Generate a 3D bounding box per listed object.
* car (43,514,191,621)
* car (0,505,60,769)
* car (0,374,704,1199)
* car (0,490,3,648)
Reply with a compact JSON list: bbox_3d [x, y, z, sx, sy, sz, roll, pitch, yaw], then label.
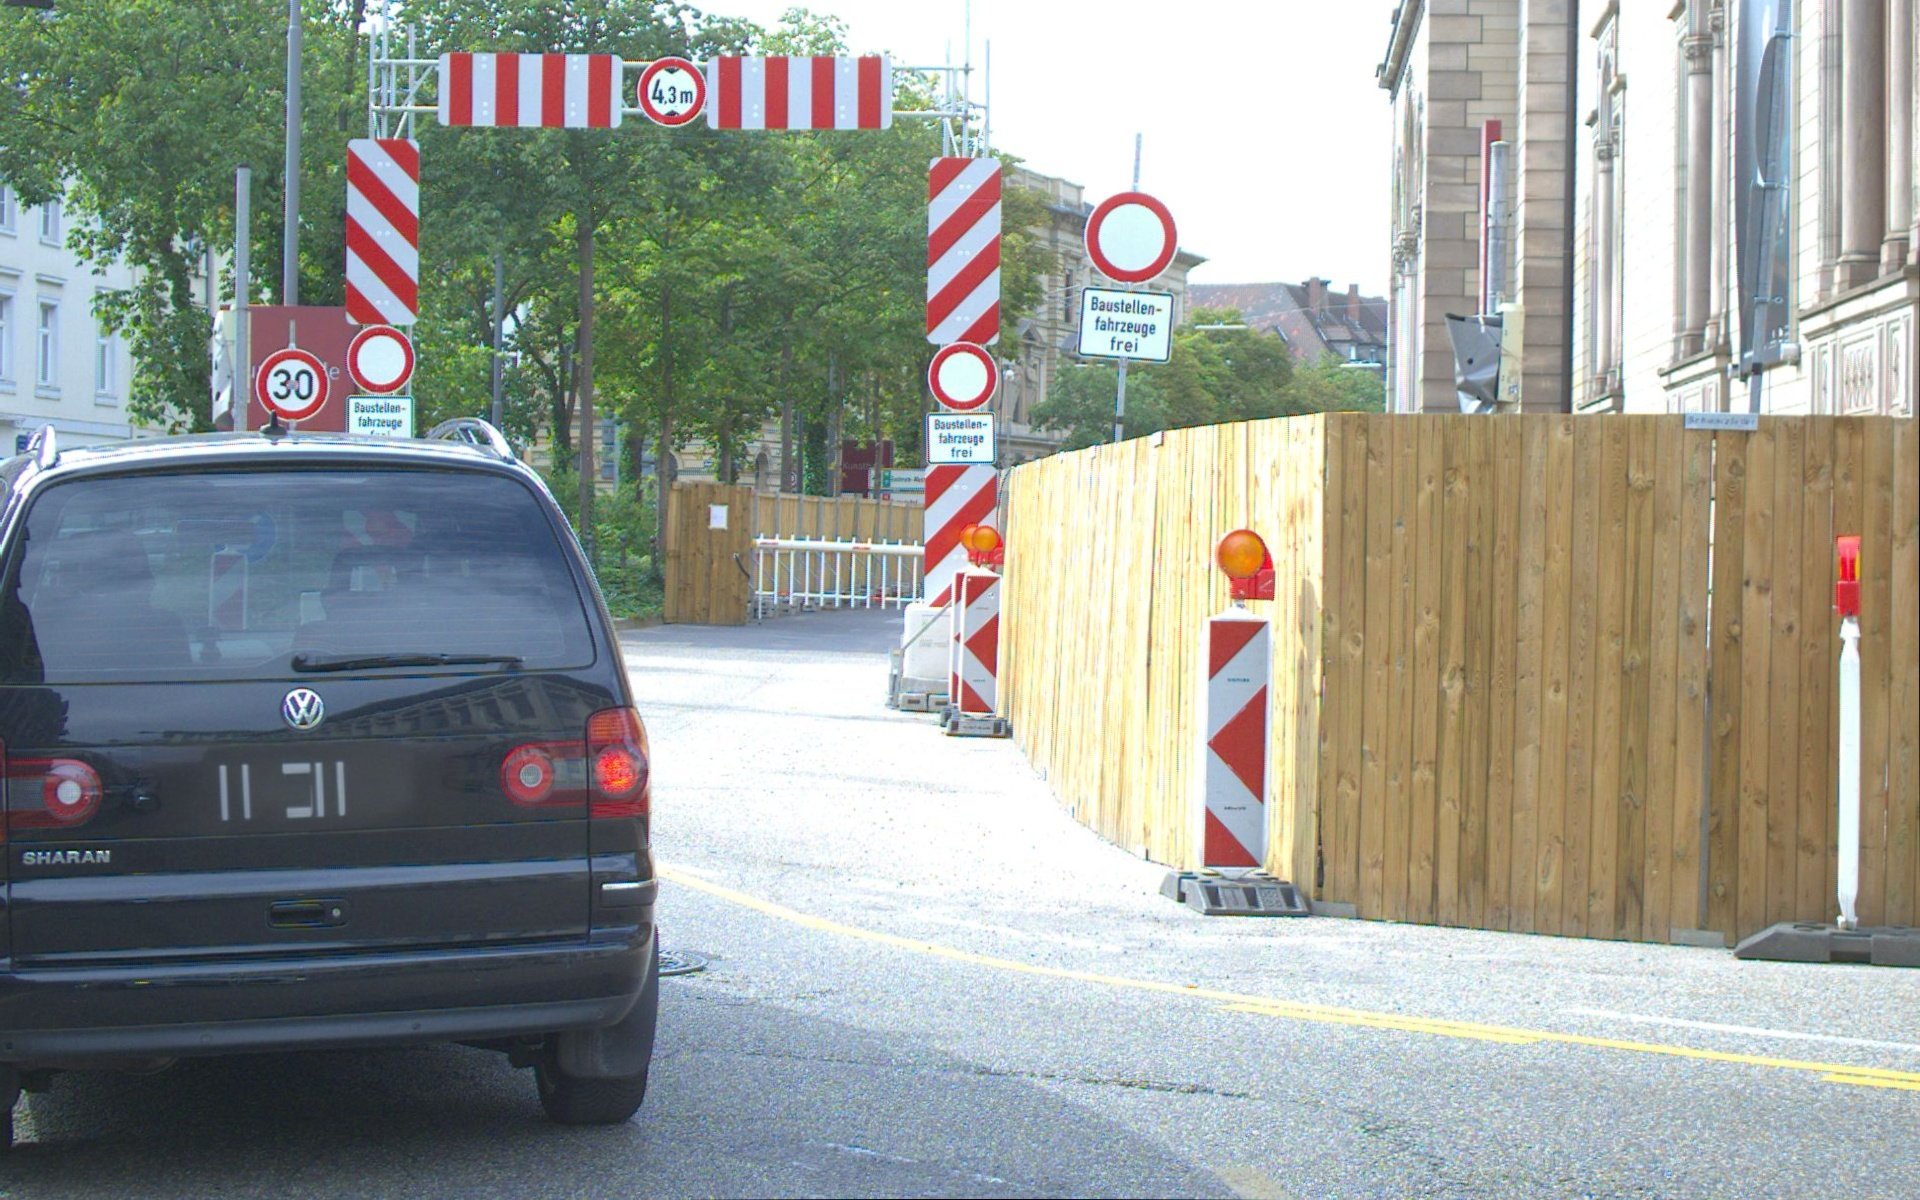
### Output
[{"bbox_3d":[-13.111,-0.520,53.659,1.773,1.580,4.001,1,1,-7],"label":"car"},{"bbox_3d":[-6.508,0.153,20.867,1.677,1.464,4.104,1,1,-19],"label":"car"},{"bbox_3d":[-1.966,0.387,9.433,1.789,1.784,4.104,1,1,-14],"label":"car"},{"bbox_3d":[-11.110,-0.349,35.944,1.772,1.580,4.001,1,1,-20],"label":"car"}]
